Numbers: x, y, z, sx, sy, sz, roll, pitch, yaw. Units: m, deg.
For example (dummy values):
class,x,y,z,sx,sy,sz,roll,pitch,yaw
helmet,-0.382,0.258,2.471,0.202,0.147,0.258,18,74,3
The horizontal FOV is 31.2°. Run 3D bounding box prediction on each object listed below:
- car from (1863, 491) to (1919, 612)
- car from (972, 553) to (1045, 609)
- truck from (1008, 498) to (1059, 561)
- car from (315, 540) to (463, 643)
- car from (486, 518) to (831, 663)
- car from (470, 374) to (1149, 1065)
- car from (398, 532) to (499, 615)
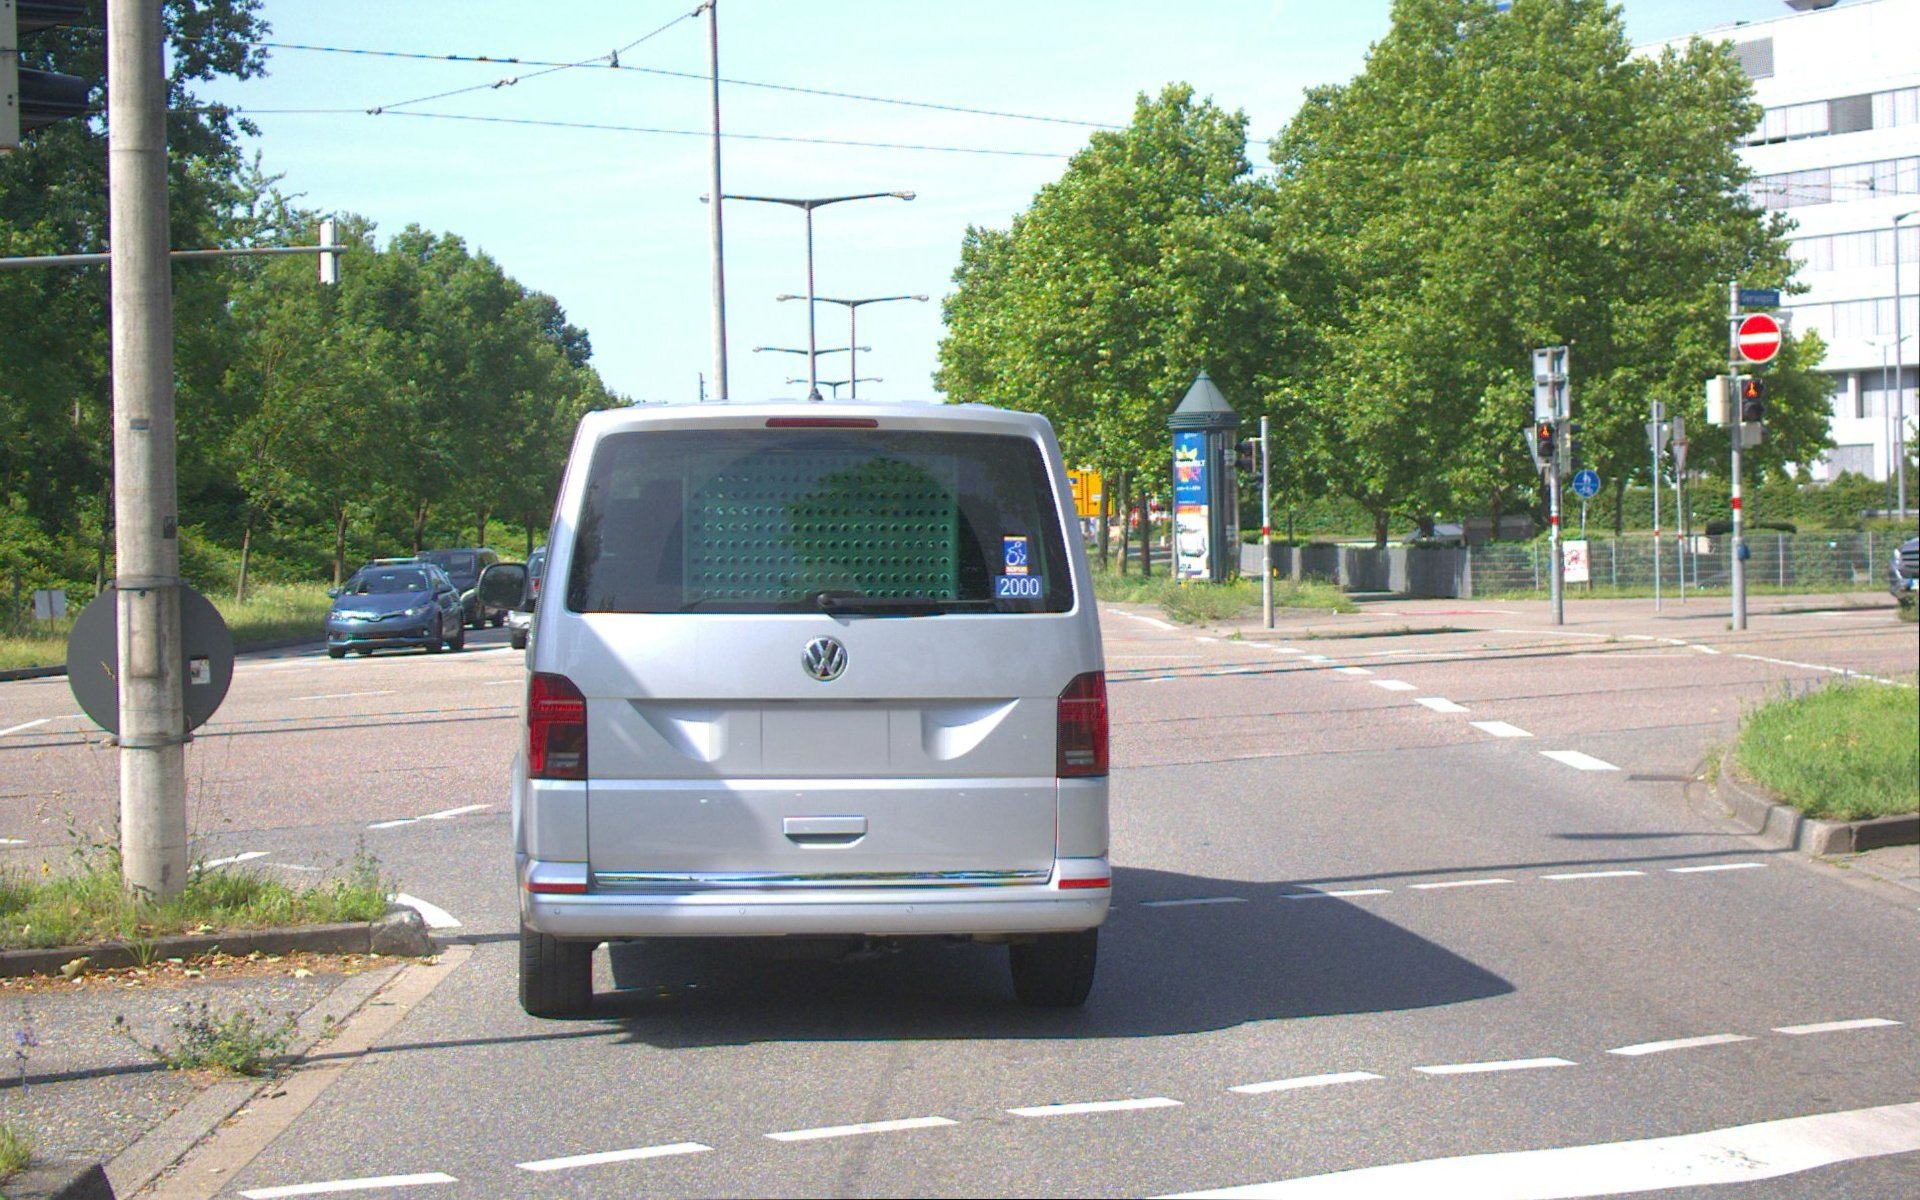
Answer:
class,x,y,z,sx,sy,sz,roll,pitch,yaw
car,15.242,-0.747,49.364,4.613,1.683,1.915,-2,1,-37
car,1.132,-0.452,80.721,1.643,1.232,3.253,-2,1,1
truck,5.363,-5.054,248.610,3.191,4.340,13.146,-1,1,3
car,-9.147,-0.165,55.297,1.849,1.556,4.001,-2,1,-3
car,-3.647,-0.110,41.022,1.809,1.600,4.376,-2,1,-42
car,-0.687,0.303,12.436,1.941,1.965,5.023,-1,1,-6
car,-11.695,-0.626,78.872,1.849,1.808,4.001,-2,1,-3
